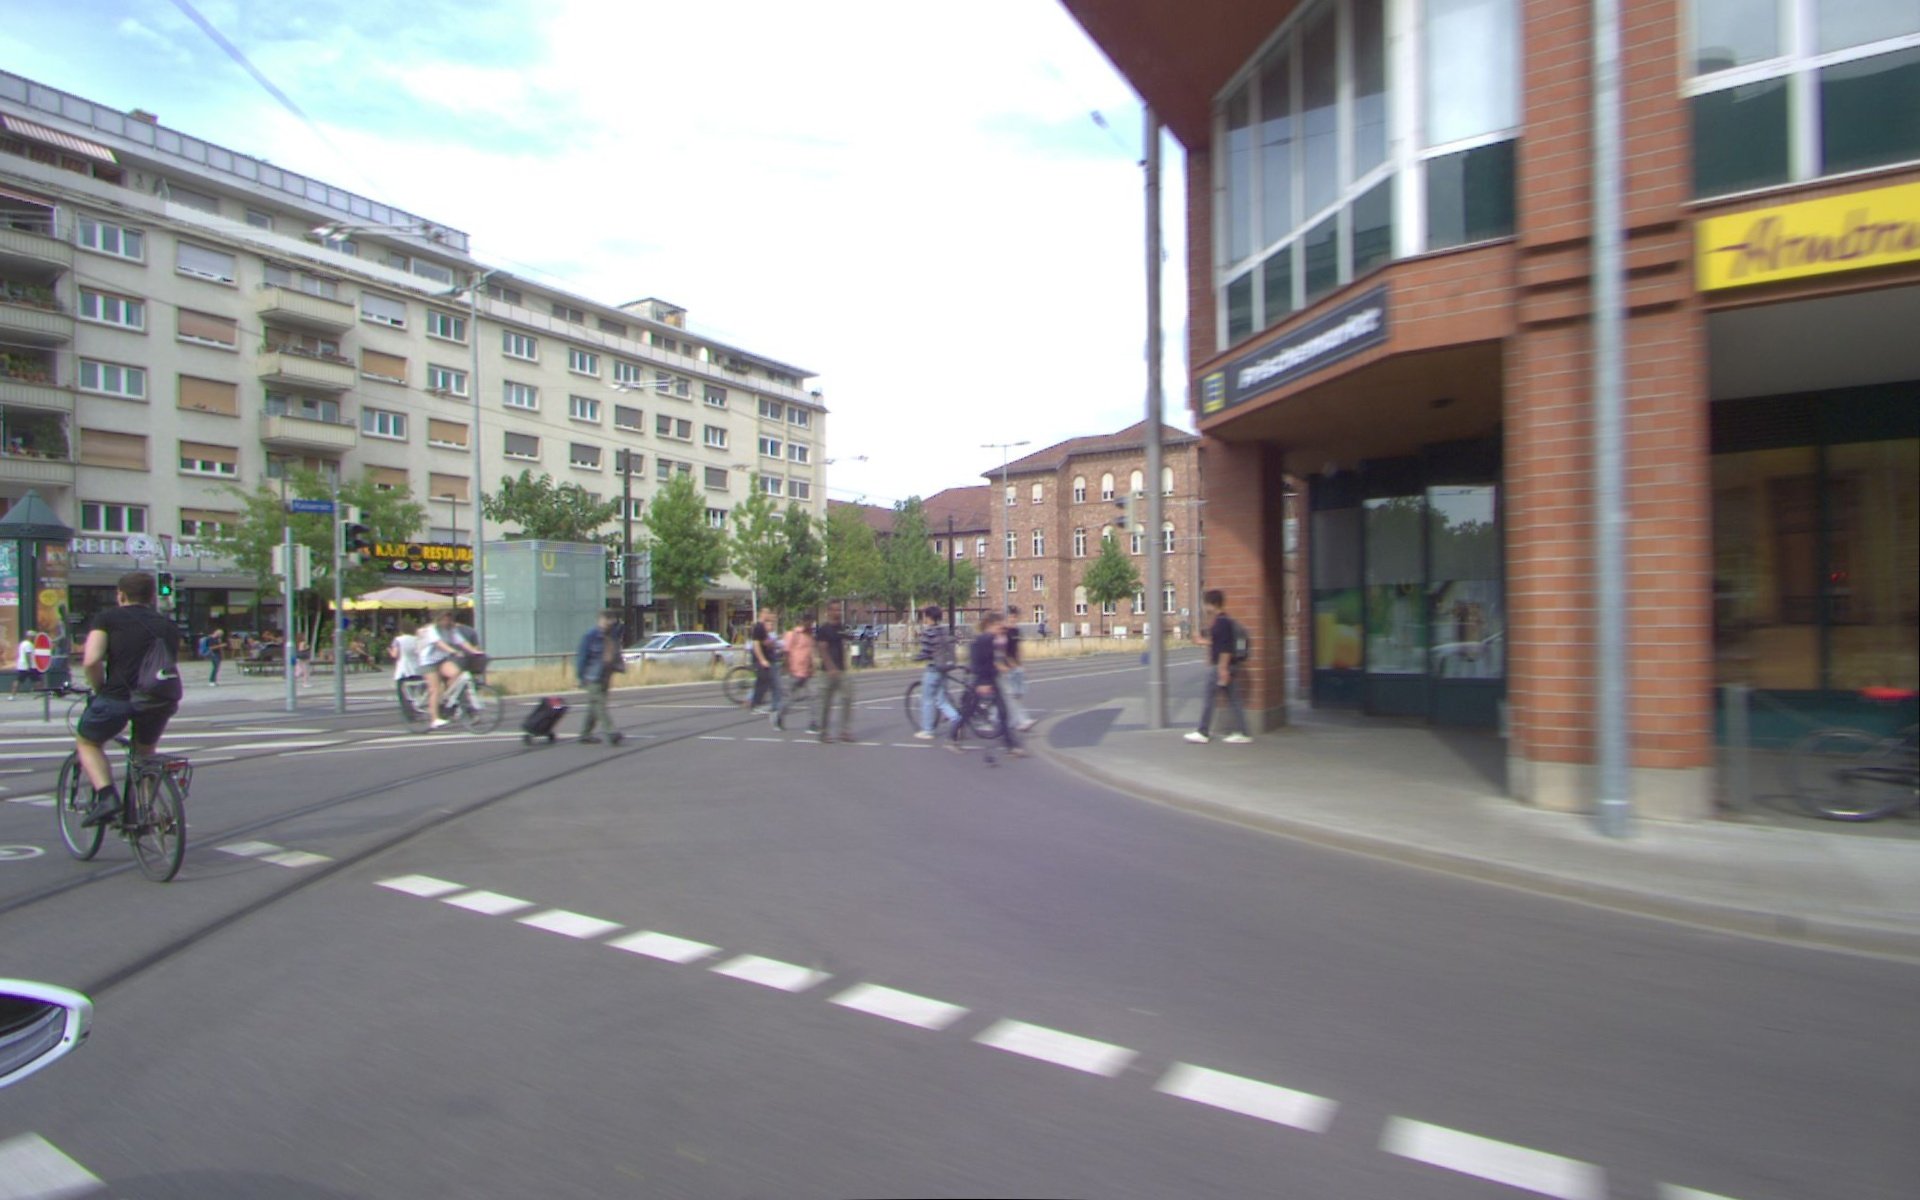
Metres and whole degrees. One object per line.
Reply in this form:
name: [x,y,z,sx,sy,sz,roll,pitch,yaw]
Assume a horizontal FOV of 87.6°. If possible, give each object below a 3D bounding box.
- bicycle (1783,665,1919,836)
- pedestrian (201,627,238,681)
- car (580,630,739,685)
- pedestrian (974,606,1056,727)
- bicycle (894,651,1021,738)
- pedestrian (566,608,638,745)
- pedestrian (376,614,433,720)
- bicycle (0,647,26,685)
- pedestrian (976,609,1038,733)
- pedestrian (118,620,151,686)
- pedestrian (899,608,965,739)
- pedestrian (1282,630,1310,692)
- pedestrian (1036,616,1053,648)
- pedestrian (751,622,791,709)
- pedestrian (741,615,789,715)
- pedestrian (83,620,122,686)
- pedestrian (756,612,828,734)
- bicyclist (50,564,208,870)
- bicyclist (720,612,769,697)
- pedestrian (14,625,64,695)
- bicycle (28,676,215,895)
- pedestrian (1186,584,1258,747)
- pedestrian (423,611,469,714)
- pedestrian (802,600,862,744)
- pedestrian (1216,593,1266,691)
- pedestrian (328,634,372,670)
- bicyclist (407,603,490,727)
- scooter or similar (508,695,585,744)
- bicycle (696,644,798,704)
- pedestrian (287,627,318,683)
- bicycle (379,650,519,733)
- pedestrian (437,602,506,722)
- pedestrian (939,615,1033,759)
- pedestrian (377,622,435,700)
bicycle: [6.768,1.028,6.869,1.676,1.106,0.563,-2,1,36]
pedestrian: [-22.307,1.607,30.167,0.409,1.596,0.817,-1,-1,33]
car: [-9.242,1.731,31.193,1.972,1.531,4.579,-1,-1,32]
pedestrian: [0.823,0.972,15.008,1.041,1.736,0.645,-1,-1,32]
bicycle: [-0.056,1.267,13.739,1.804,1.125,0.396,-1,-1,33]
pedestrian: [-4.607,0.966,12.897,0.591,1.709,0.637,0,0,32]
pedestrian: [-9.162,1.094,16.512,0.784,1.707,0.468,-1,-1,27]
bicycle: [-26.557,1.816,27.133,0.534,1.026,2.448,-1,-1,-9]
pedestrian: [0.673,0.993,14.290,0.641,1.710,0.646,0,0,32]
pedestrian: [-22.366,1.430,27.137,0.409,1.759,0.592,-1,-1,32]
pedestrian: [-0.375,0.966,13.394,0.716,1.707,0.518,-1,-1,33]
pedestrian: [9.532,1.720,28.391,0.514,1.744,0.537,0,-1,-38]
pedestrian: [5.345,2.030,63.312,0.748,2.040,0.904,-1,-1,28]
pedestrian: [-3.377,1.155,17.895,0.619,1.530,0.591,0,-1,-21]
pedestrian: [-3.342,1.098,17.132,0.709,1.669,0.705,0,-1,-21]
pedestrian: [-23.040,1.415,26.905,0.409,1.759,0.698,-1,-1,32]
pedestrian: [-2.382,1.008,14.195,0.880,1.673,0.540,-1,0,32]
bicyclist: [-5.098,0.676,6.140,0.851,1.731,0.557,-1,-1,36]
bicyclist: [-4.235,1.051,19.661,0.848,1.624,0.641,0,-1,-22]
pedestrian: [-22.975,1.481,24.981,0.618,1.702,0.801,-1,-1,33]
bicycle: [-5.294,1.078,6.277,1.990,1.136,0.404,-1,-1,35]
pedestrian: [3.076,0.764,11.753,0.685,1.846,0.567,-1,-3,31]
pedestrian: [-8.842,1.058,17.242,0.624,1.717,0.704,0,0,-21]
pedestrian: [-1.661,0.916,12.991,0.553,1.821,0.540,0,0,32]
pedestrian: [5.331,0.799,18.956,0.696,1.806,0.735,-2,-1,33]
pedestrian: [-21.577,1.856,35.444,0.922,1.260,1.029,-2,-3,34]
bicyclist: [-7.356,0.924,14.405,0.847,1.731,0.642,-1,-1,15]
scooter or similar: [-5.375,1.544,13.031,0.802,0.581,0.507,-1,-1,23]
bicycle: [-4.132,1.416,19.481,1.888,1.101,0.390,0,-1,-23]
pedestrian: [-19.966,1.653,30.421,0.433,1.662,0.675,-1,-1,32]
bicycle: [-7.307,1.294,14.309,2.038,1.136,0.391,-1,-1,15]
pedestrian: [-7.852,0.978,16.100,0.864,1.878,0.637,-1,0,32]
pedestrian: [0.304,0.993,11.781,0.909,1.621,0.617,-1,-1,32]
pedestrian: [-11.119,1.215,20.108,0.832,1.520,0.552,-3,-1,16]
